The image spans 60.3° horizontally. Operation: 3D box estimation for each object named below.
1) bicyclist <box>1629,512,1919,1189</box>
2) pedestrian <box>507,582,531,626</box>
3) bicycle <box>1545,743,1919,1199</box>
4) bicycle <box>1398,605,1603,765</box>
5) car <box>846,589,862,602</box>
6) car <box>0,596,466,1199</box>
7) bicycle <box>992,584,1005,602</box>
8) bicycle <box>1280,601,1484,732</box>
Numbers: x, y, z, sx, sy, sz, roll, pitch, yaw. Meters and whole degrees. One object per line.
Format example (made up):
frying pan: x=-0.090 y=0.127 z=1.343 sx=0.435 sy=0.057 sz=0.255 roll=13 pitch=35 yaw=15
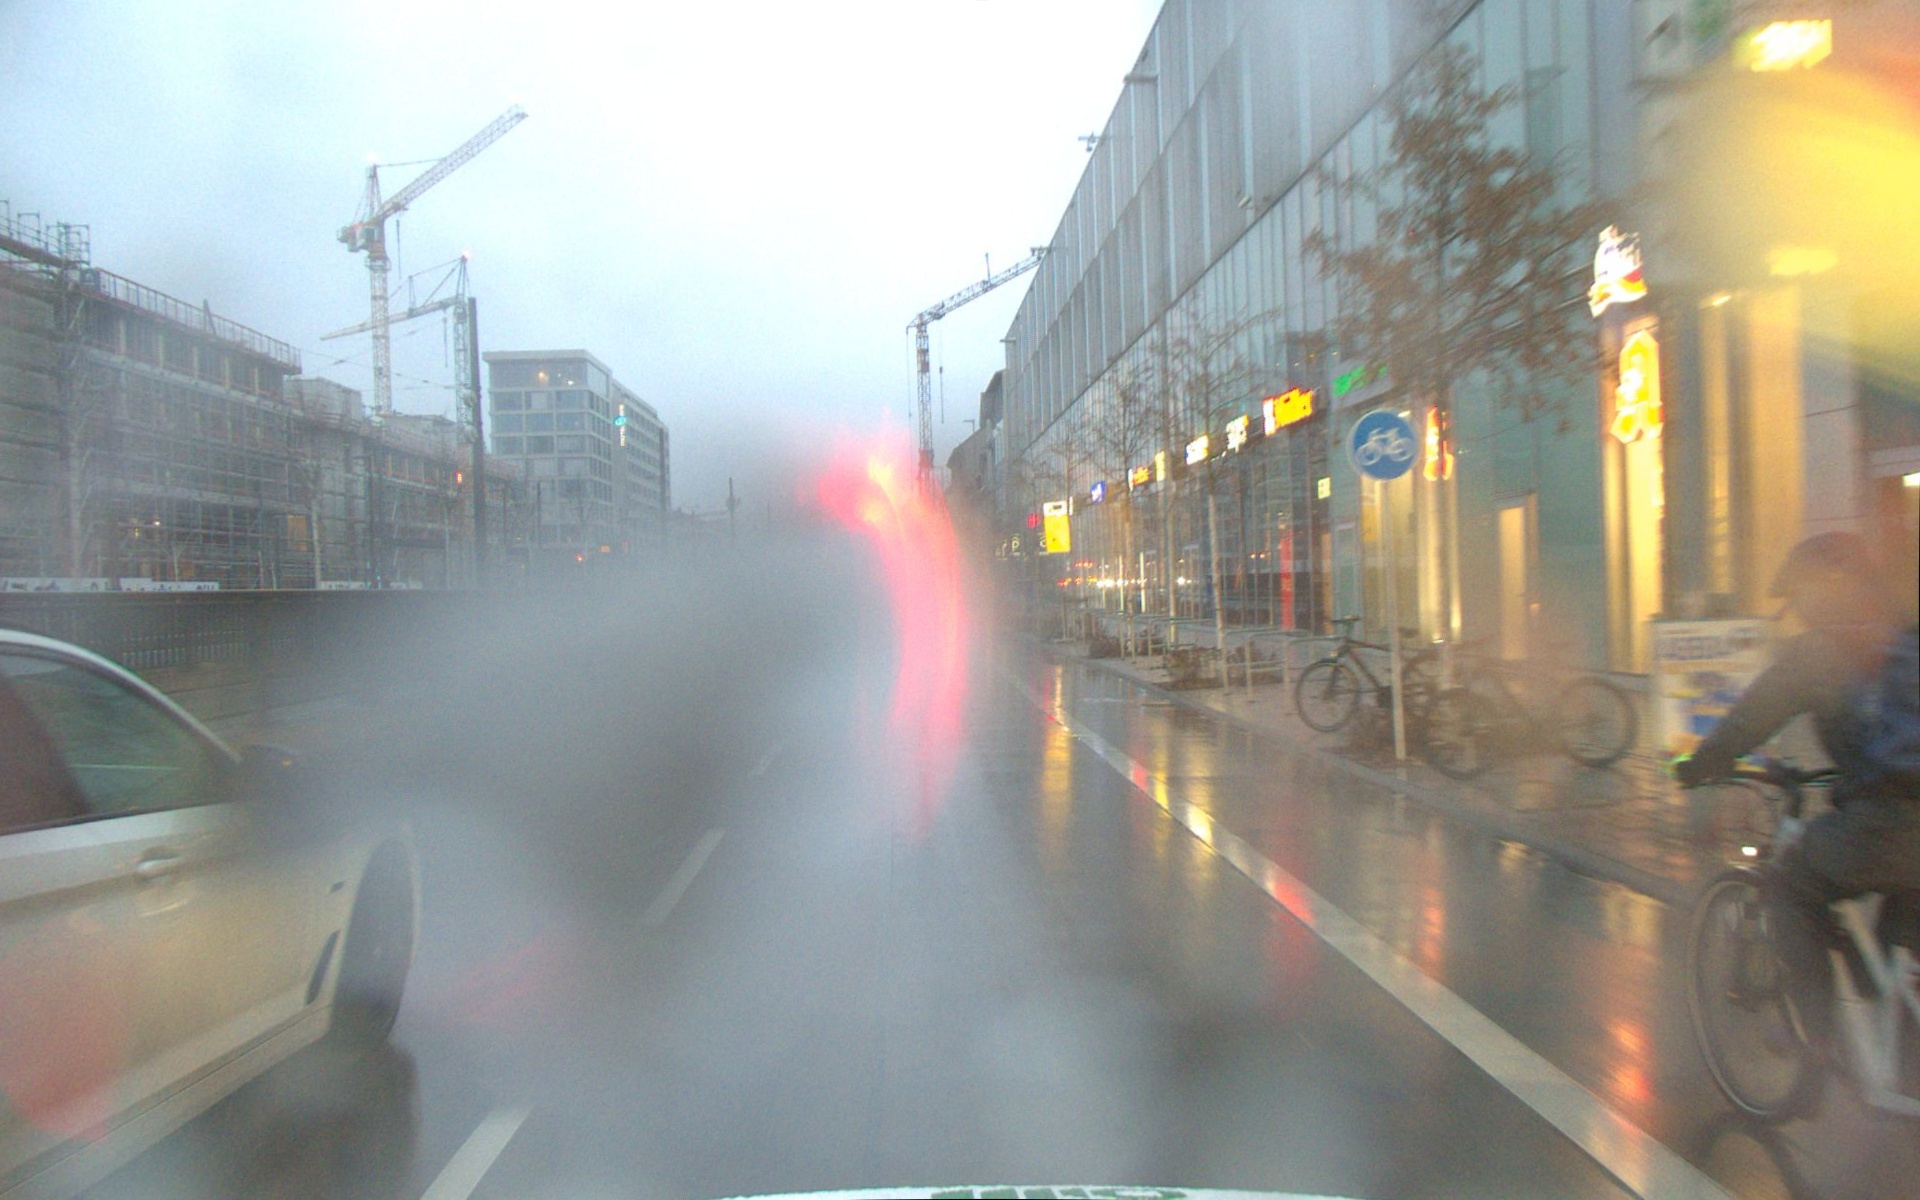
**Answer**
bicyclist: x=2.353 y=0.543 z=4.163 sx=0.923 sy=1.488 sz=1.067 roll=-1 pitch=0 yaw=2
pedestrian: x=-16.048 y=0.150 z=60.224 sx=0.571 sy=1.577 sz=0.741 roll=-1 pitch=0 yaw=8
bicycle: x=2.373 y=1.000 z=4.388 sx=0.923 sy=1.017 sz=2.241 roll=-1 pitch=0 yaw=2
bicycle: x=4.626 y=0.698 z=14.220 sx=0.662 sy=1.283 sz=1.533 roll=-1 pitch=0 yaw=-45
car: x=-13.097 y=-0.575 z=205.353 sx=1.863 sy=1.670 sz=3.998 roll=-1 pitch=0 yaw=-3
car: x=-2.729 y=0.761 z=3.816 sx=1.814 sy=1.491 sz=4.945 roll=-1 pitch=0 yaw=-2
bicycle: x=2.731 y=-0.488 z=117.111 sx=0.669 sy=1.243 sz=1.904 roll=-4 pitch=0 yaw=-4
bicycle: x=4.311 y=0.667 z=16.952 sx=1.865 sy=1.195 sz=0.666 roll=-3 pitch=0 yaw=-3
